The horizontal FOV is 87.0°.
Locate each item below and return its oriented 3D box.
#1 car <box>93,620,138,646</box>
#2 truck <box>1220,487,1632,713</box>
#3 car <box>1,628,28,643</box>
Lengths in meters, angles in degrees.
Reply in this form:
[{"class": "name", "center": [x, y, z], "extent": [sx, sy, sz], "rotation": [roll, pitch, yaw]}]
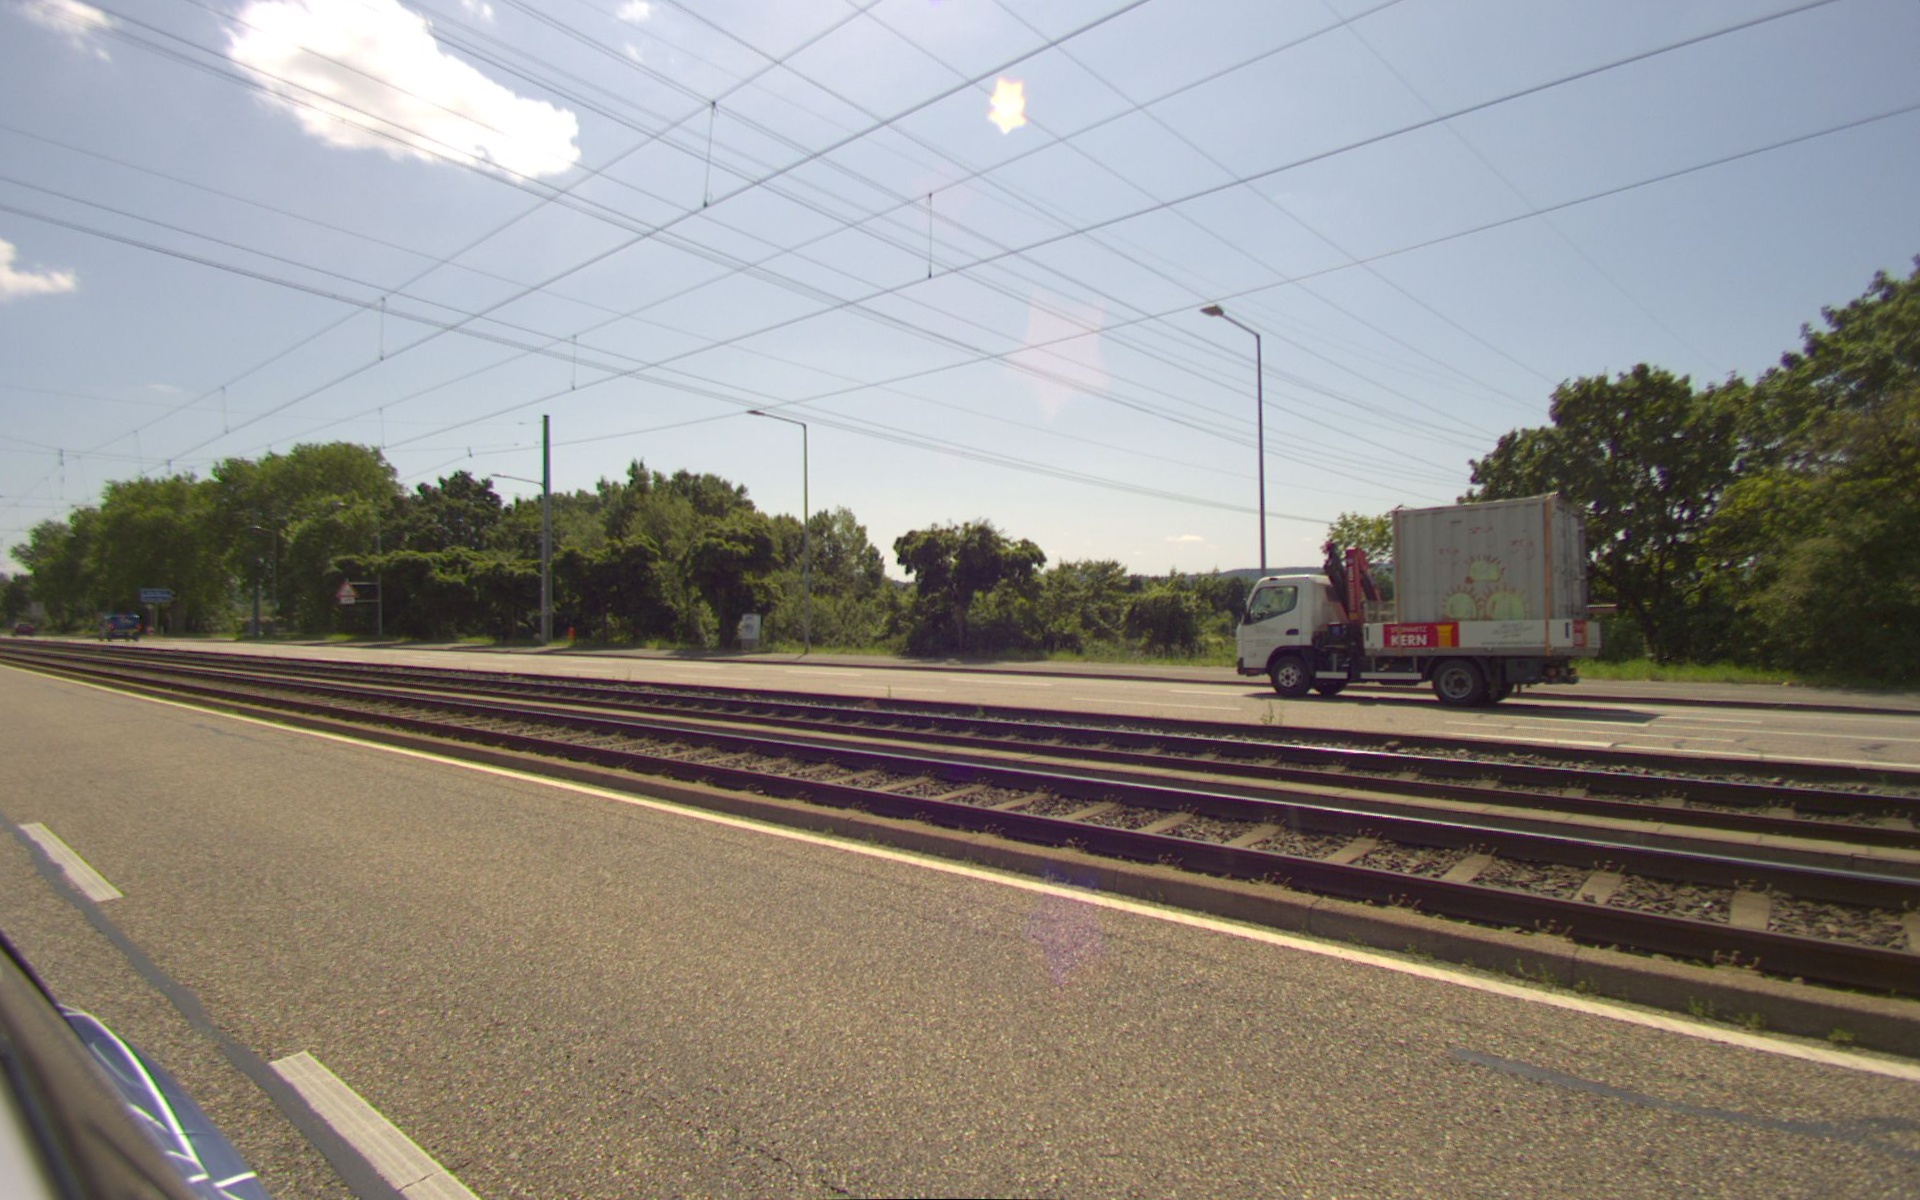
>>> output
[{"class": "car", "center": [-65.054, 2.535, 77.923], "extent": [5.005, 1.942, 1.838], "rotation": [-2, -3, 41]}, {"class": "truck", "center": [7.783, 0.069, 17.464], "extent": [6.041, 3.261, 2.225], "rotation": [-2, -2, 43]}, {"class": "car", "center": [-107.594, 4.061, 115.171], "extent": [4.209, 1.638, 1.783], "rotation": [-2, -3, 41]}]
